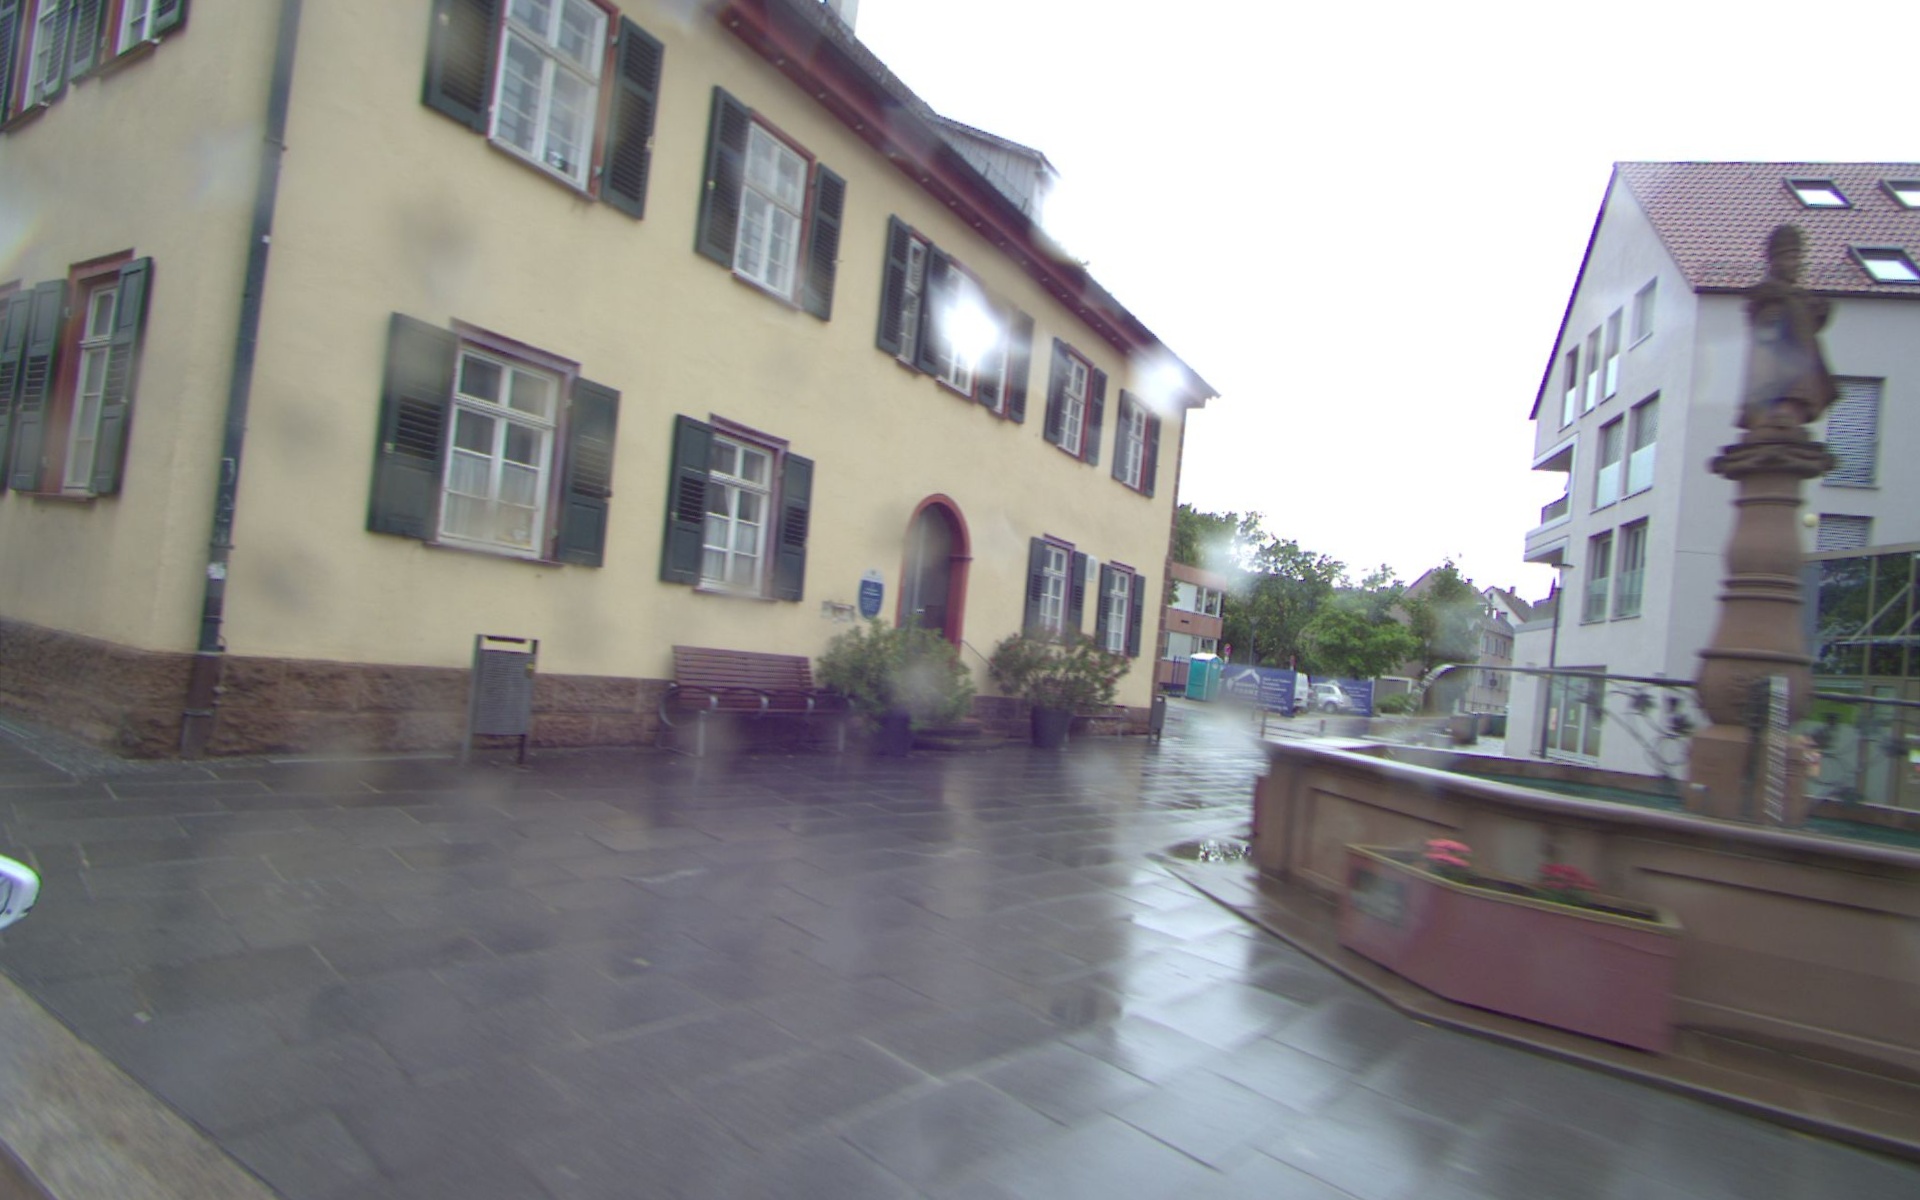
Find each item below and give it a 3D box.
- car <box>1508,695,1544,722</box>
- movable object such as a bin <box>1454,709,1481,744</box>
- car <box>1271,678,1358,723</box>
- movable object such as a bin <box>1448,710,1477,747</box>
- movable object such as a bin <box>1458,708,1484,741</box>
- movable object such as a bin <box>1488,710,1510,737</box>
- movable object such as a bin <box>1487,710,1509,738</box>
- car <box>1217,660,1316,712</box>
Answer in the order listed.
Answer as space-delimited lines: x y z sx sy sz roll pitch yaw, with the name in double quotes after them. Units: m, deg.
44.072 8.430 78.352 1.968 1.829 3.990 6 -2 34 "car"
20.419 5.080 40.492 0.767 1.273 1.015 6 -1 32 "movable object such as a bin"
19.656 5.567 55.869 4.080 1.948 1.723 6 -1 35 "car"
19.024 4.846 38.068 0.767 1.273 1.015 6 -1 32 "movable object such as a bin"
21.186 5.157 41.720 0.767 1.273 1.015 6 -1 32 "movable object such as a bin"
27.085 6.200 50.564 0.767 1.273 1.015 6 -1 32 "movable object such as a bin"
26.489 6.101 49.557 0.767 1.273 1.015 6 -1 32 "movable object such as a bin"
14.901 4.171 49.033 4.081 1.948 1.902 6 -1 36 "car"
